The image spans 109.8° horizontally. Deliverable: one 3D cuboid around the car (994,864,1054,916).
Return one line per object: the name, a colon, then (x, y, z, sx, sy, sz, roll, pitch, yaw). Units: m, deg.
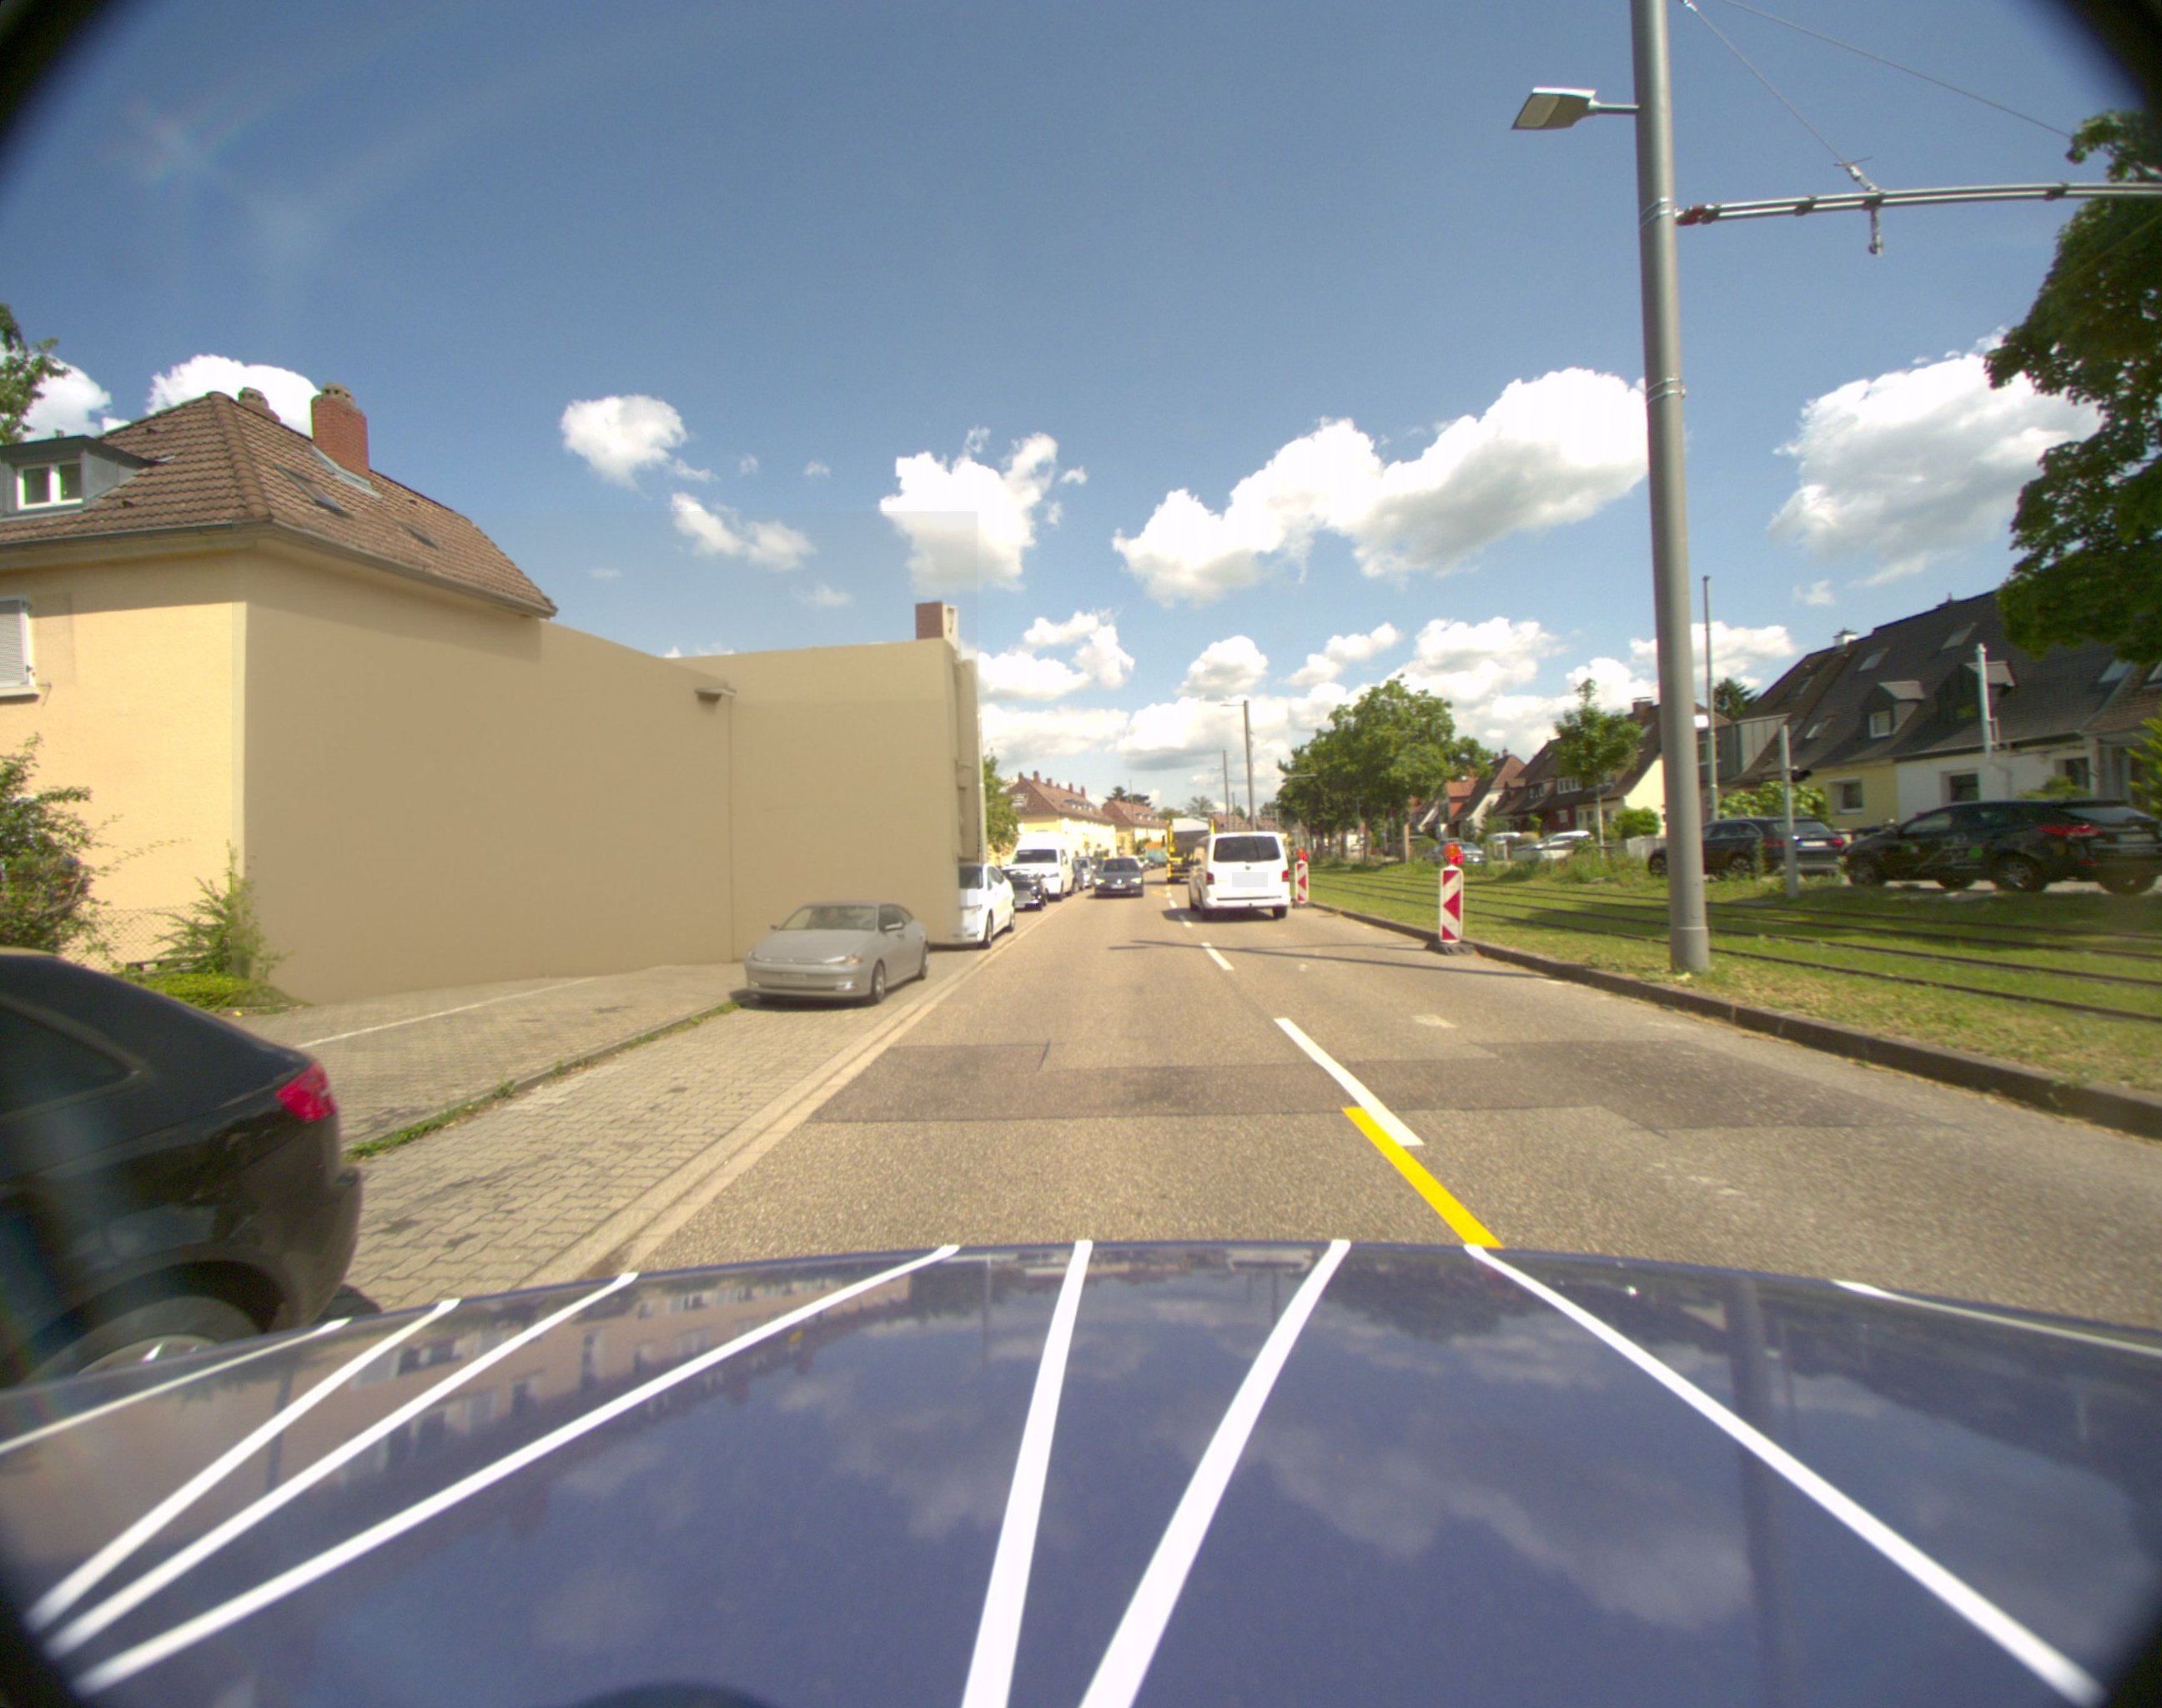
car: (-1.641, 1.020, 22.867, 1.358, 1.299, 3.543, -2, 1, 2)

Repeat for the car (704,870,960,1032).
car: (-2.743, 0.991, 9.366, 1.701, 1.421, 3.898, -1, 1, 2)

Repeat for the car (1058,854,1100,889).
car: (-0.051, 0.796, 36.621, 1.513, 1.490, 3.408, -2, 1, 7)

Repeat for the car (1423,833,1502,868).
car: (18.755, -0.204, 37.579, 1.998, 1.531, 4.323, -3, 1, 5)

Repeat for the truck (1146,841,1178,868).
truck: (9.882, 0.011, 92.184, 2.529, 2.931, 7.868, -2, 1, 15)

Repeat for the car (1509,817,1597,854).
car: (28.628, -1.127, 46.201, 3.995, 2.002, 2.001, -3, 1, 7)

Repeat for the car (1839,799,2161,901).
car: (16.666, -0.028, 13.743, 1.910, 1.568, 4.102, 0, -1, 3)

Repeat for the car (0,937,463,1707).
car: (-2.869, 1.042, 0.124, 1.689, 1.429, 4.516, -2, 1, 2)

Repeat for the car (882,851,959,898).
car: (-6.516, 0.806, 31.343, 1.926, 1.736, 4.048, -3, 0, 5)

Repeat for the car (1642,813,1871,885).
car: (16.650, -0.139, 19.099, 1.998, 1.531, 4.322, -3, 1, 2)

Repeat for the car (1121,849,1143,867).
car: (4.672, 0.365, 69.023, 1.512, 1.490, 3.577, -2, 1, 10)

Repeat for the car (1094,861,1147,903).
car: (1.505, 1.029, 28.881, 1.786, 1.411, 4.292, -2, -1, 3)

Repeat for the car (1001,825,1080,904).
car: (-1.346, 0.334, 27.577, 1.923, 2.522, 5.346, -2, 0, 6)

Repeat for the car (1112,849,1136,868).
car: (3.705, 0.360, 64.755, 1.512, 1.490, 3.577, -2, 1, 10)

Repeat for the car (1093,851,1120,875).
car: (1.790, 0.596, 52.019, 1.513, 1.490, 3.408, -2, 1, 7)

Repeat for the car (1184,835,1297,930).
car: (3.670, 0.603, 18.305, 1.944, 1.931, 4.562, -2, 0, 3)

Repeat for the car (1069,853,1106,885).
car: (0.393, 0.764, 40.172, 1.513, 1.490, 3.408, -2, 1, 7)

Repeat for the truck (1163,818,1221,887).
truck: (5.945, -0.080, 41.605, 2.701, 3.346, 8.053, -2, 0, 6)

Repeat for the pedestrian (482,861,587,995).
pedestrian: (-7.073, 0.925, 9.883, 0.617, 1.629, 0.901, -2, 1, 2)

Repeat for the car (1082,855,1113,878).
car: (1.034, 0.748, 45.733, 1.513, 1.241, 3.408, -2, 1, 7)

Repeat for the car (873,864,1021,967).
car: (-2.291, 1.003, 14.251, 1.756, 1.480, 4.628, -2, 0, 2)

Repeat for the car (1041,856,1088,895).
car: (-0.663, 0.872, 32.639, 1.513, 1.490, 3.544, -2, 1, 6)
